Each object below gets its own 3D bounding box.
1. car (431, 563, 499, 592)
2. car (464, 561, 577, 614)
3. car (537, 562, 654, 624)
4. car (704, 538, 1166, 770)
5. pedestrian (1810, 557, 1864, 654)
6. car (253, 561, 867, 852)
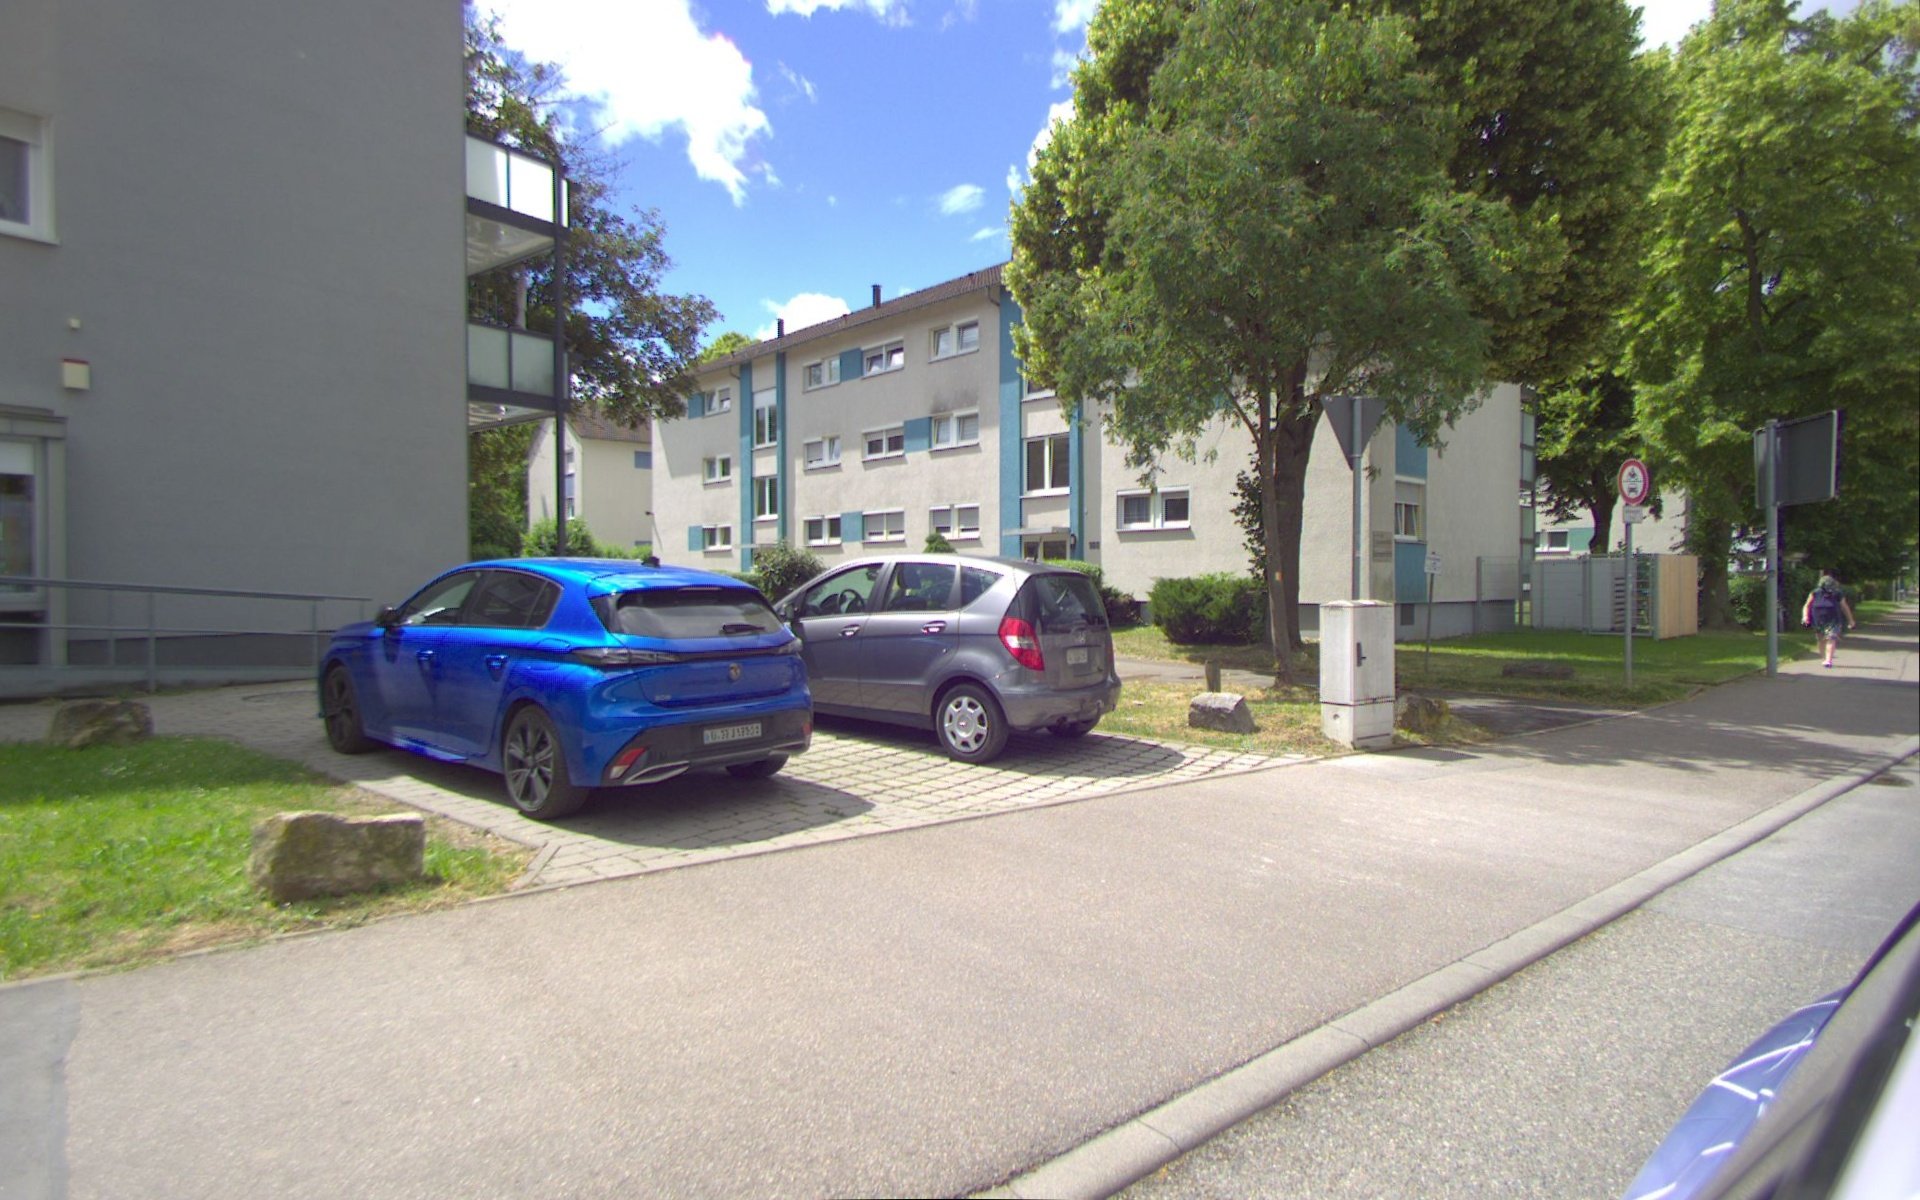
[{"bbox_3d":[-25.317,-1.136,51.675,1.968,1.329,3.988,-1,0,-45],"label":"car"},{"bbox_3d":[-13.526,-0.412,31.017,1.887,1.522,3.990,-1,2,-44],"label":"car"},{"bbox_3d":[-9.713,-0.162,26.825,1.700,1.521,3.876,-1,0,-40],"label":"car"},{"bbox_3d":[-0.314,0.299,9.093,3.723,1.576,2.004,4,3,38],"label":"car"},{"bbox_3d":[15.673,0.081,18.104,0.681,1.681,0.820,1,2,40],"label":"pedestrian"},{"bbox_3d":[-2.985,0.462,7.123,4.473,1.258,1.974,4,3,37],"label":"car"}]
